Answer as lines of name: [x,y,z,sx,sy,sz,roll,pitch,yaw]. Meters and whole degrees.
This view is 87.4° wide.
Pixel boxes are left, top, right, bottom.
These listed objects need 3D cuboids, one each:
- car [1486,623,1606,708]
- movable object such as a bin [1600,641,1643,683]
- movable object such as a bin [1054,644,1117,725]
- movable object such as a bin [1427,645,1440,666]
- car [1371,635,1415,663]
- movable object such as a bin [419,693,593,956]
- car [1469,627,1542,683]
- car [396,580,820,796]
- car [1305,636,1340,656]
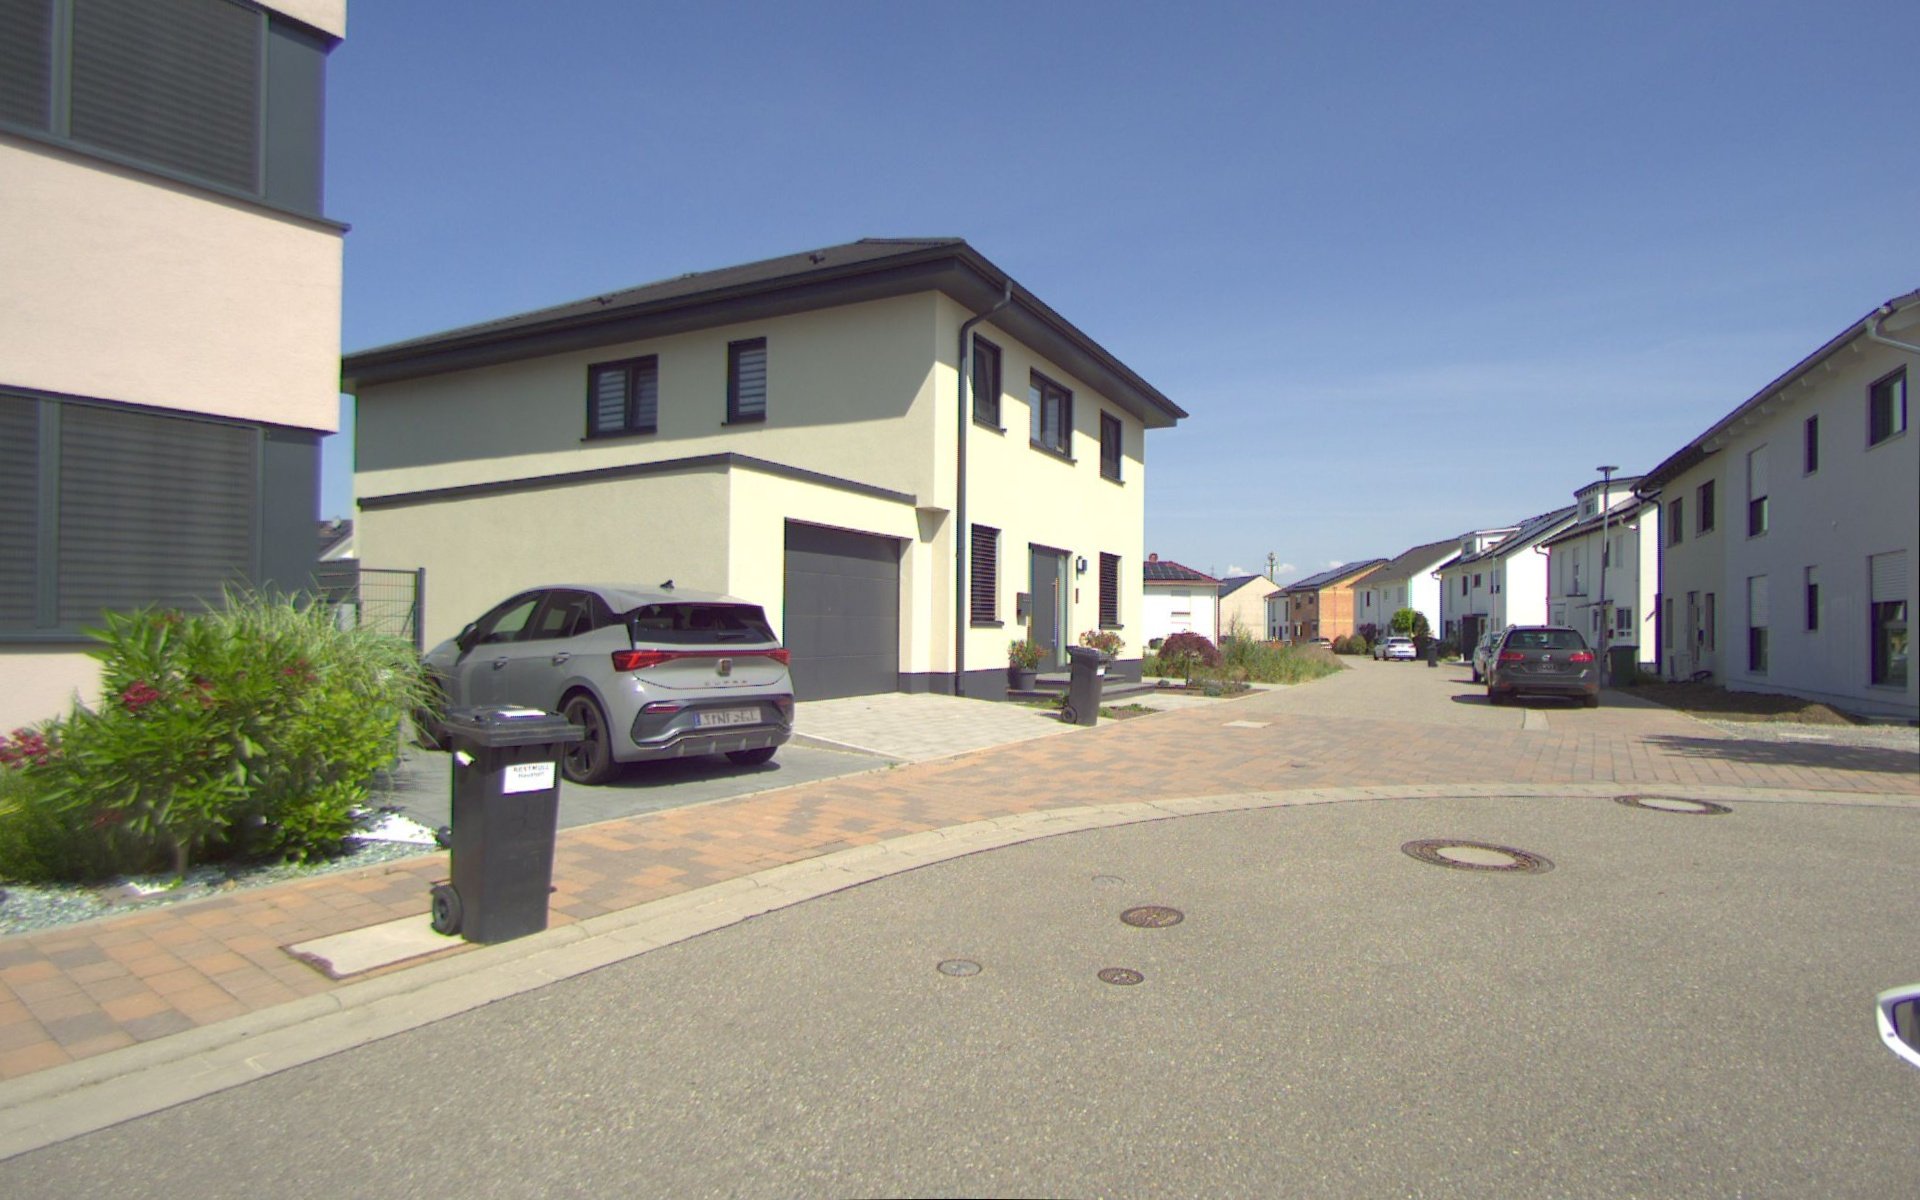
car: [11.053,1.177,19.173,1.700,1.441,3.996,-1,-2,27]
movable object such as a bin: [17.218,1.611,26.165,0.772,1.063,0.804,-2,-2,24]
movable object such as a bin: [1.552,1.030,12.426,0.605,0.939,0.422,3,0,30]
movable object such as a bin: [22.259,2.605,47.198,0.548,0.961,0.247,0,-1,23]
car: [26.505,2.969,61.603,1.750,1.617,4.003,0,-2,12]
movable object such as a bin: [-1.920,0.898,4.240,0.522,0.948,0.530,2,0,-40]
car: [15.393,1.507,28.496,1.651,1.483,3.941,-1,-2,26]
car: [-3.246,0.632,8.941,3.938,1.506,1.747,0,-1,39]
car: [29.781,3.776,82.613,1.749,1.505,4.003,1,-1,6]
